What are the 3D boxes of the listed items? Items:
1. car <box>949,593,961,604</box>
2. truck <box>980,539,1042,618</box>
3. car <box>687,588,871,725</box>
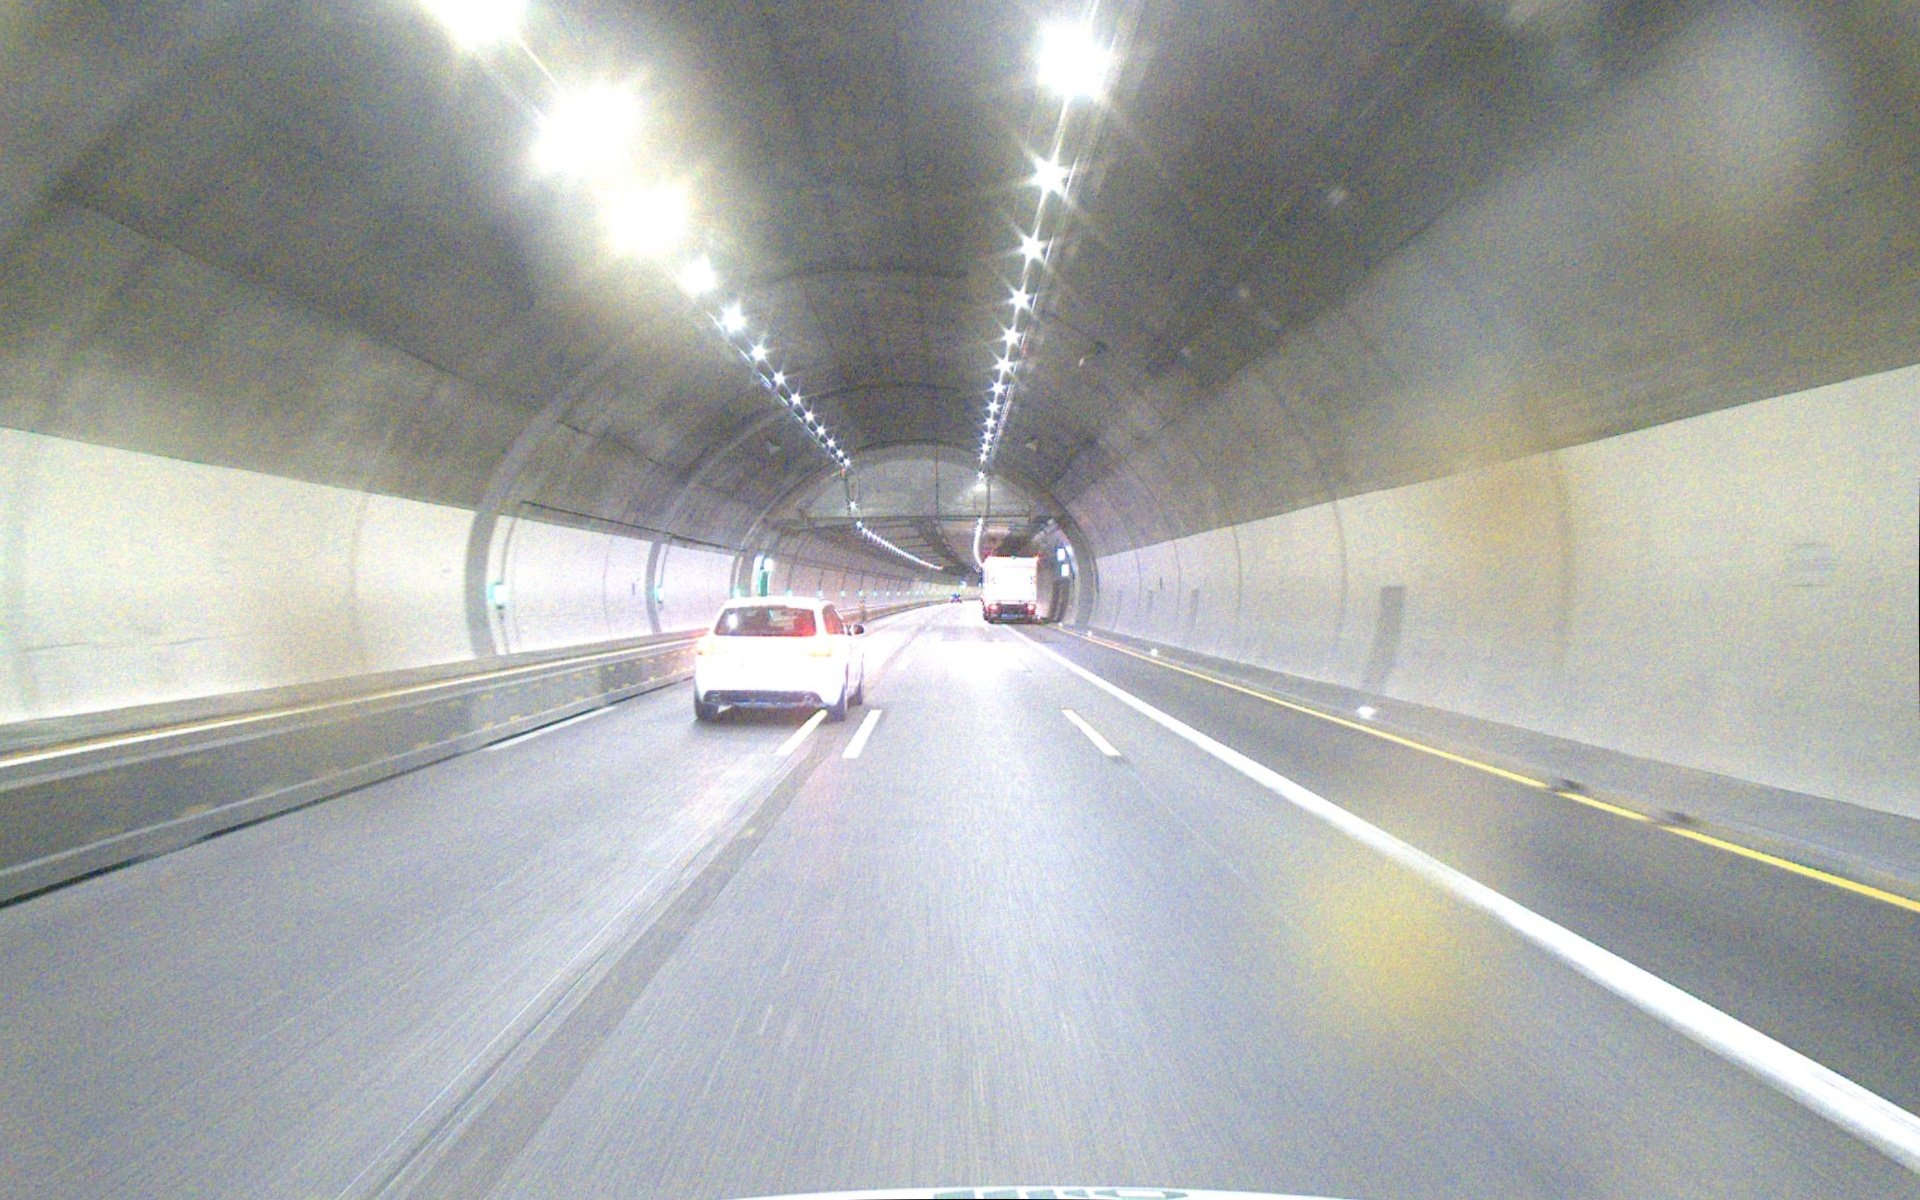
[{"bbox_3d":[-0.666,-0.256,244.451,1.723,1.486,4.119,-1,1,0],"label":"car"},{"bbox_3d":[2.684,-1.059,90.211,3.029,3.986,10.366,-1,0,0],"label":"truck"},{"bbox_3d":[-2.169,0.642,21.074,1.865,1.511,4.942,1,0,-1],"label":"car"}]
